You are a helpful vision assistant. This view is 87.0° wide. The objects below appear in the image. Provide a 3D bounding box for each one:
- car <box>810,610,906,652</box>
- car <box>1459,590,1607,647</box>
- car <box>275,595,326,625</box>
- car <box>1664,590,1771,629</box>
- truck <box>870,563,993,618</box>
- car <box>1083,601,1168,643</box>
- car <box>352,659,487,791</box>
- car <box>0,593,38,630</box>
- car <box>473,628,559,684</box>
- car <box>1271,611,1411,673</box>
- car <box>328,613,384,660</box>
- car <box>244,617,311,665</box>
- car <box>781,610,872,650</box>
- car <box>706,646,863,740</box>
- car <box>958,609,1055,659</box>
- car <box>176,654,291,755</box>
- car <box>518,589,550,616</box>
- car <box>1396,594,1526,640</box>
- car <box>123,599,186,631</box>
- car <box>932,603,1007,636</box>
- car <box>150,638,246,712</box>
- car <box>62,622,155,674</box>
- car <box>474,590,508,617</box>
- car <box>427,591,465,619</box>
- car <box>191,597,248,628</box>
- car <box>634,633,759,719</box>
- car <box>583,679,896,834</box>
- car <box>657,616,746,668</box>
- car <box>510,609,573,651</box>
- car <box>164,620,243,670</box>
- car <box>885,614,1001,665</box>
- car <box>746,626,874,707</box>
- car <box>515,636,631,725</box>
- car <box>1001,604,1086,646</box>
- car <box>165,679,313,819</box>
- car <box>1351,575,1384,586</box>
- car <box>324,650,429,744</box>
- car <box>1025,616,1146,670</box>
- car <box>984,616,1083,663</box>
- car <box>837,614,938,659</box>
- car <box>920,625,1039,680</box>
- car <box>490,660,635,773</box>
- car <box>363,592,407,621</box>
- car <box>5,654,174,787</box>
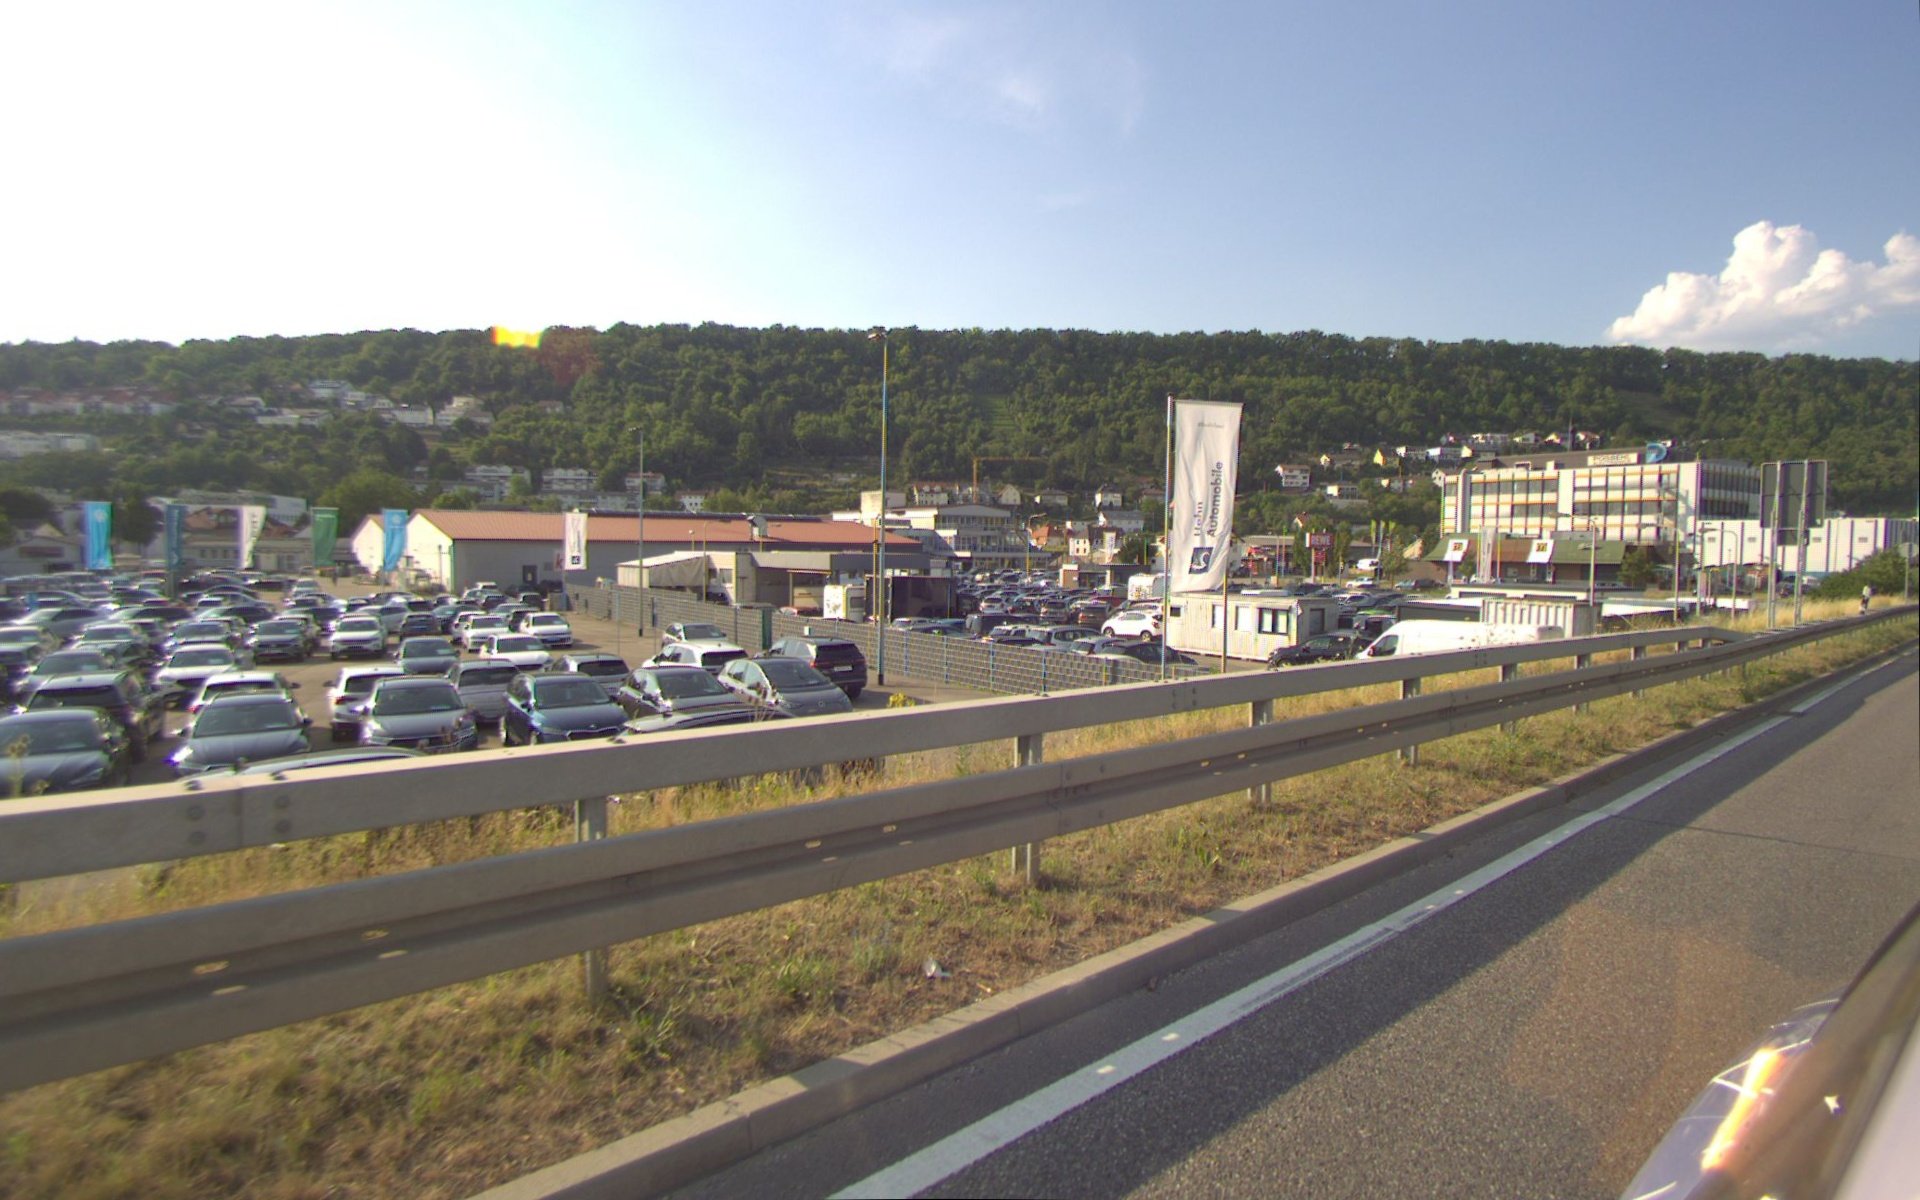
[{"bbox_3d":[-4.471,1.336,44.629,3.820,1.562,1.800,-3,2,-36],"label":"car"},{"bbox_3d":[19.454,0.572,34.507,1.868,1.771,3.996,-3,2,-39],"label":"car"},{"bbox_3d":[-40.861,0.578,62.808,1.958,1.738,4.008,-1,1,-23],"label":"car"},{"bbox_3d":[38.182,0.437,51.075,1.802,1.838,3.996,-3,2,-39],"label":"car"},{"bbox_3d":[-1.312,-0.494,48.518,5.862,2.399,1.998,-3,2,-38],"label":"truck"},{"bbox_3d":[8.003,1.012,49.276,1.772,1.677,3.999,-2,4,-37],"label":"car"},{"bbox_3d":[-10.060,2.156,18.656,1.766,1.735,4.435,-2,2,-33],"label":"car"},{"bbox_3d":[-54.995,0.636,58.016,1.958,2.039,4.008,-1,1,-23],"label":"car"},{"bbox_3d":[-14.171,1.720,32.176,1.766,1.385,4.435,-2,2,-33],"label":"car"},{"bbox_3d":[13.849,1.474,36.851,4.532,2.038,1.882,0,2,30],"label":"car"},{"bbox_3d":[-24.183,1.413,40.649,1.765,1.562,4.351,-2,2,-29],"label":"car"},{"bbox_3d":[-26.533,1.544,39.449,1.765,1.562,4.351,-2,2,-29],"label":"car"},{"bbox_3d":[-6.056,1.315,46.131,3.819,1.562,1.602,-3,2,-36],"label":"car"},{"bbox_3d":[-3.940,1.948,22.266,1.755,1.562,3.984,-2,2,-37],"label":"car"},{"bbox_3d":[2.009,1.414,42.979,3.944,1.824,1.602,-3,2,-35],"label":"car"},{"bbox_3d":[-15.434,2.128,21.687,1.766,1.562,4.435,-2,2,-33],"label":"car"},{"bbox_3d":[-29.153,0.120,69.202,1.958,1.738,4.008,-1,1,-23],"label":"car"},{"bbox_3d":[20.525,0.659,41.604,2.092,1.772,4.331,1,0,-39],"label":"car"},{"bbox_3d":[-48.223,0.845,60.677,1.958,1.738,4.008,-1,1,-23],"label":"car"},{"bbox_3d":[0.443,0.985,53.326,1.766,1.562,4.347,-2,2,-34],"label":"car"},{"bbox_3d":[-20.816,1.979,27.792,1.766,1.562,4.435,-2,2,-33],"label":"car"},{"bbox_3d":[-31.019,1.696,36.985,1.765,1.562,4.351,-2,2,-29],"label":"car"},{"bbox_3d":[-31.481,0.198,68.053,1.958,1.738,4.008,-1,1,-23],"label":"car"},{"bbox_3d":[-33.825,0.299,66.726,1.958,1.738,4.008,-1,1,-23],"label":"car"},{"bbox_3d":[-45.284,0.735,61.952,1.958,1.738,4.008,-1,1,-23],"label":"car"},{"bbox_3d":[-6.867,1.849,26.058,1.766,1.735,4.435,-2,2,-33],"label":"car"},{"bbox_3d":[-3.286,2.251,15.595,4.355,1.562,1.798,-3,2,-40],"label":"car"},{"bbox_3d":[-9.447,1.460,36.752,1.766,1.562,4.435,-2,2,-33],"label":"car"},{"bbox_3d":[-18.543,1.279,44.697,1.766,1.562,4.347,-2,2,-33],"label":"car"},{"bbox_3d":[-28.551,1.658,38.314,1.765,1.562,4.351,-2,2,-29],"label":"car"},{"bbox_3d":[-0.603,1.458,38.248,4.205,1.614,1.602,-3,2,-35],"label":"car"},{"bbox_3d":[-4.196,1.731,27.747,1.766,1.735,4.435,-2,3,-33],"label":"car"},{"bbox_3d":[-9.778,1.920,25.351,1.766,1.735,4.435,-2,2,-33],"label":"car"},{"bbox_3d":[3.919,1.123,47.429,3.818,1.721,1.602,-3,2,-35],"label":"car"},{"bbox_3d":[-12.020,2.352,17.082,1.766,1.562,4.435,-2,2,-33],"label":"car"},{"bbox_3d":[52.390,-2.513,130.194,1.658,1.437,3.653,-2,2,-36],"label":"car"},{"bbox_3d":[-13.284,2.091,22.912,1.766,1.562,4.435,-2,2,-33],"label":"car"},{"bbox_3d":[4.813,1.593,38.708,4.413,1.722,1.972,-3,2,-35],"label":"car"},{"bbox_3d":[2.978,1.559,40.600,3.818,1.583,1.602,-3,2,-35],"label":"car"},{"bbox_3d":[-3.024,1.497,42.514,3.820,1.562,1.800,-3,2,-36],"label":"car"},{"bbox_3d":[0.733,1.843,36.696,4.163,1.614,1.602,-3,2,-35],"label":"car"},{"bbox_3d":[-7.904,2.154,19.884,1.766,1.562,4.435,-2,2,-33],"label":"car"},{"bbox_3d":[-36.855,0.406,64.936,1.958,1.738,4.008,-1,1,-23],"label":"car"},{"bbox_3d":[-16.725,2.195,19.674,1.767,1.723,4.435,-7,5,-33],"label":"car"}]
